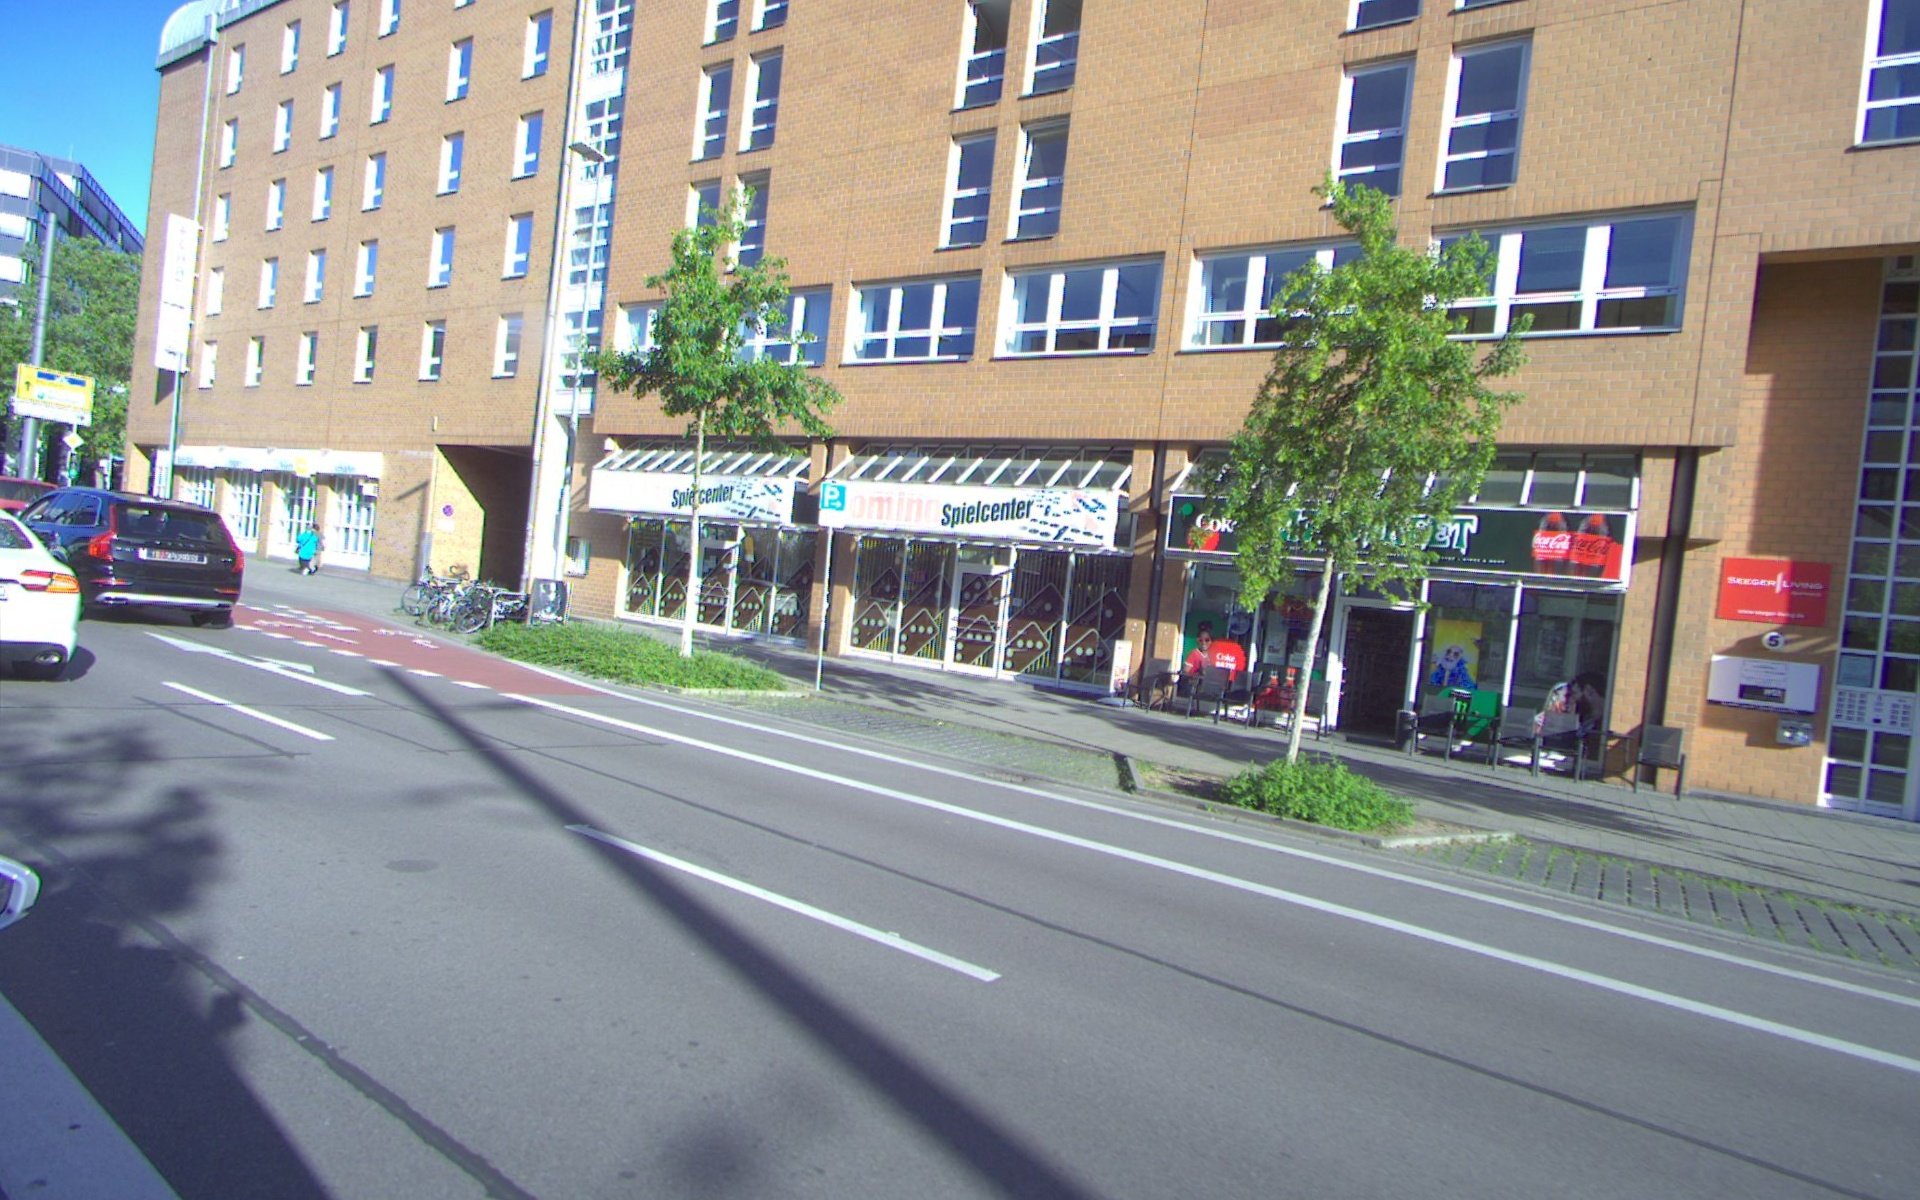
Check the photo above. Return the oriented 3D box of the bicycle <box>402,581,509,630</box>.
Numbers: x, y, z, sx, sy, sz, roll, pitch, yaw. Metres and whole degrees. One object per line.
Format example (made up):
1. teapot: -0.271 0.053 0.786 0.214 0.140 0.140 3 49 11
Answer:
1. bicycle: -10.587 0.119 21.152 1.930 0.846 0.550 6 1 -32

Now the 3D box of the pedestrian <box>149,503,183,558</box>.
1. pedestrian: -28.438 -2.493 36.014 0.736 1.844 0.607 6 0 32

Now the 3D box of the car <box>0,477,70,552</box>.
1. car: -28.894 -2.672 30.450 3.936 1.985 1.861 6 0 34

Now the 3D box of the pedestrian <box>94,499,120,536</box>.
1. pedestrian: -42.167 -4.063 49.735 0.511 1.680 0.698 7 -1 32

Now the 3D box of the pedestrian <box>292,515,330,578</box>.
1. pedestrian: -20.048 -1.645 31.080 0.736 1.844 0.607 6 0 32

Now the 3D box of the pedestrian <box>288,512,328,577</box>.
1. pedestrian: -19.664 -1.676 30.355 0.736 1.844 0.607 6 0 32

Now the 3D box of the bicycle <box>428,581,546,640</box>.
1. bicycle: -9.120 0.215 19.434 1.936 0.981 0.548 6 1 -41

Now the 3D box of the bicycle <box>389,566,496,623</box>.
1. bicycle: -11.469 -0.111 22.342 0.617 1.088 1.940 6 1 44

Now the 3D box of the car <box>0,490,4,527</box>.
1. car: -21.008 -1.605 19.968 4.307 1.659 1.853 7 -1 32

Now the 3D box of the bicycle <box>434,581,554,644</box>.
1. bicycle: -8.780 0.253 19.025 1.936 1.035 0.496 6 1 -41

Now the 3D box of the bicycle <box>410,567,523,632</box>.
1. bicycle: -9.951 0.010 20.356 0.484 1.151 1.940 6 1 43

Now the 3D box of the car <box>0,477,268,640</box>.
1. car: -12.201 -0.648 14.437 4.557 1.779 1.978 6 -2 33

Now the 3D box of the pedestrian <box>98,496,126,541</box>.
1. pedestrian: -36.386 -3.495 43.165 0.736 1.844 0.607 6 0 32

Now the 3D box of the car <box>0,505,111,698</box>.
1. car: -9.341 -0.245 8.562 4.739 1.430 1.784 6 -2 32

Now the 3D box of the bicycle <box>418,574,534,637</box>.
1. bicycle: -9.586 0.134 19.993 0.547 1.088 1.940 6 1 43

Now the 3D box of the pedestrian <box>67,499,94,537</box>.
1. pedestrian: -42.030 -3.917 48.089 0.511 1.680 0.685 7 -1 32
